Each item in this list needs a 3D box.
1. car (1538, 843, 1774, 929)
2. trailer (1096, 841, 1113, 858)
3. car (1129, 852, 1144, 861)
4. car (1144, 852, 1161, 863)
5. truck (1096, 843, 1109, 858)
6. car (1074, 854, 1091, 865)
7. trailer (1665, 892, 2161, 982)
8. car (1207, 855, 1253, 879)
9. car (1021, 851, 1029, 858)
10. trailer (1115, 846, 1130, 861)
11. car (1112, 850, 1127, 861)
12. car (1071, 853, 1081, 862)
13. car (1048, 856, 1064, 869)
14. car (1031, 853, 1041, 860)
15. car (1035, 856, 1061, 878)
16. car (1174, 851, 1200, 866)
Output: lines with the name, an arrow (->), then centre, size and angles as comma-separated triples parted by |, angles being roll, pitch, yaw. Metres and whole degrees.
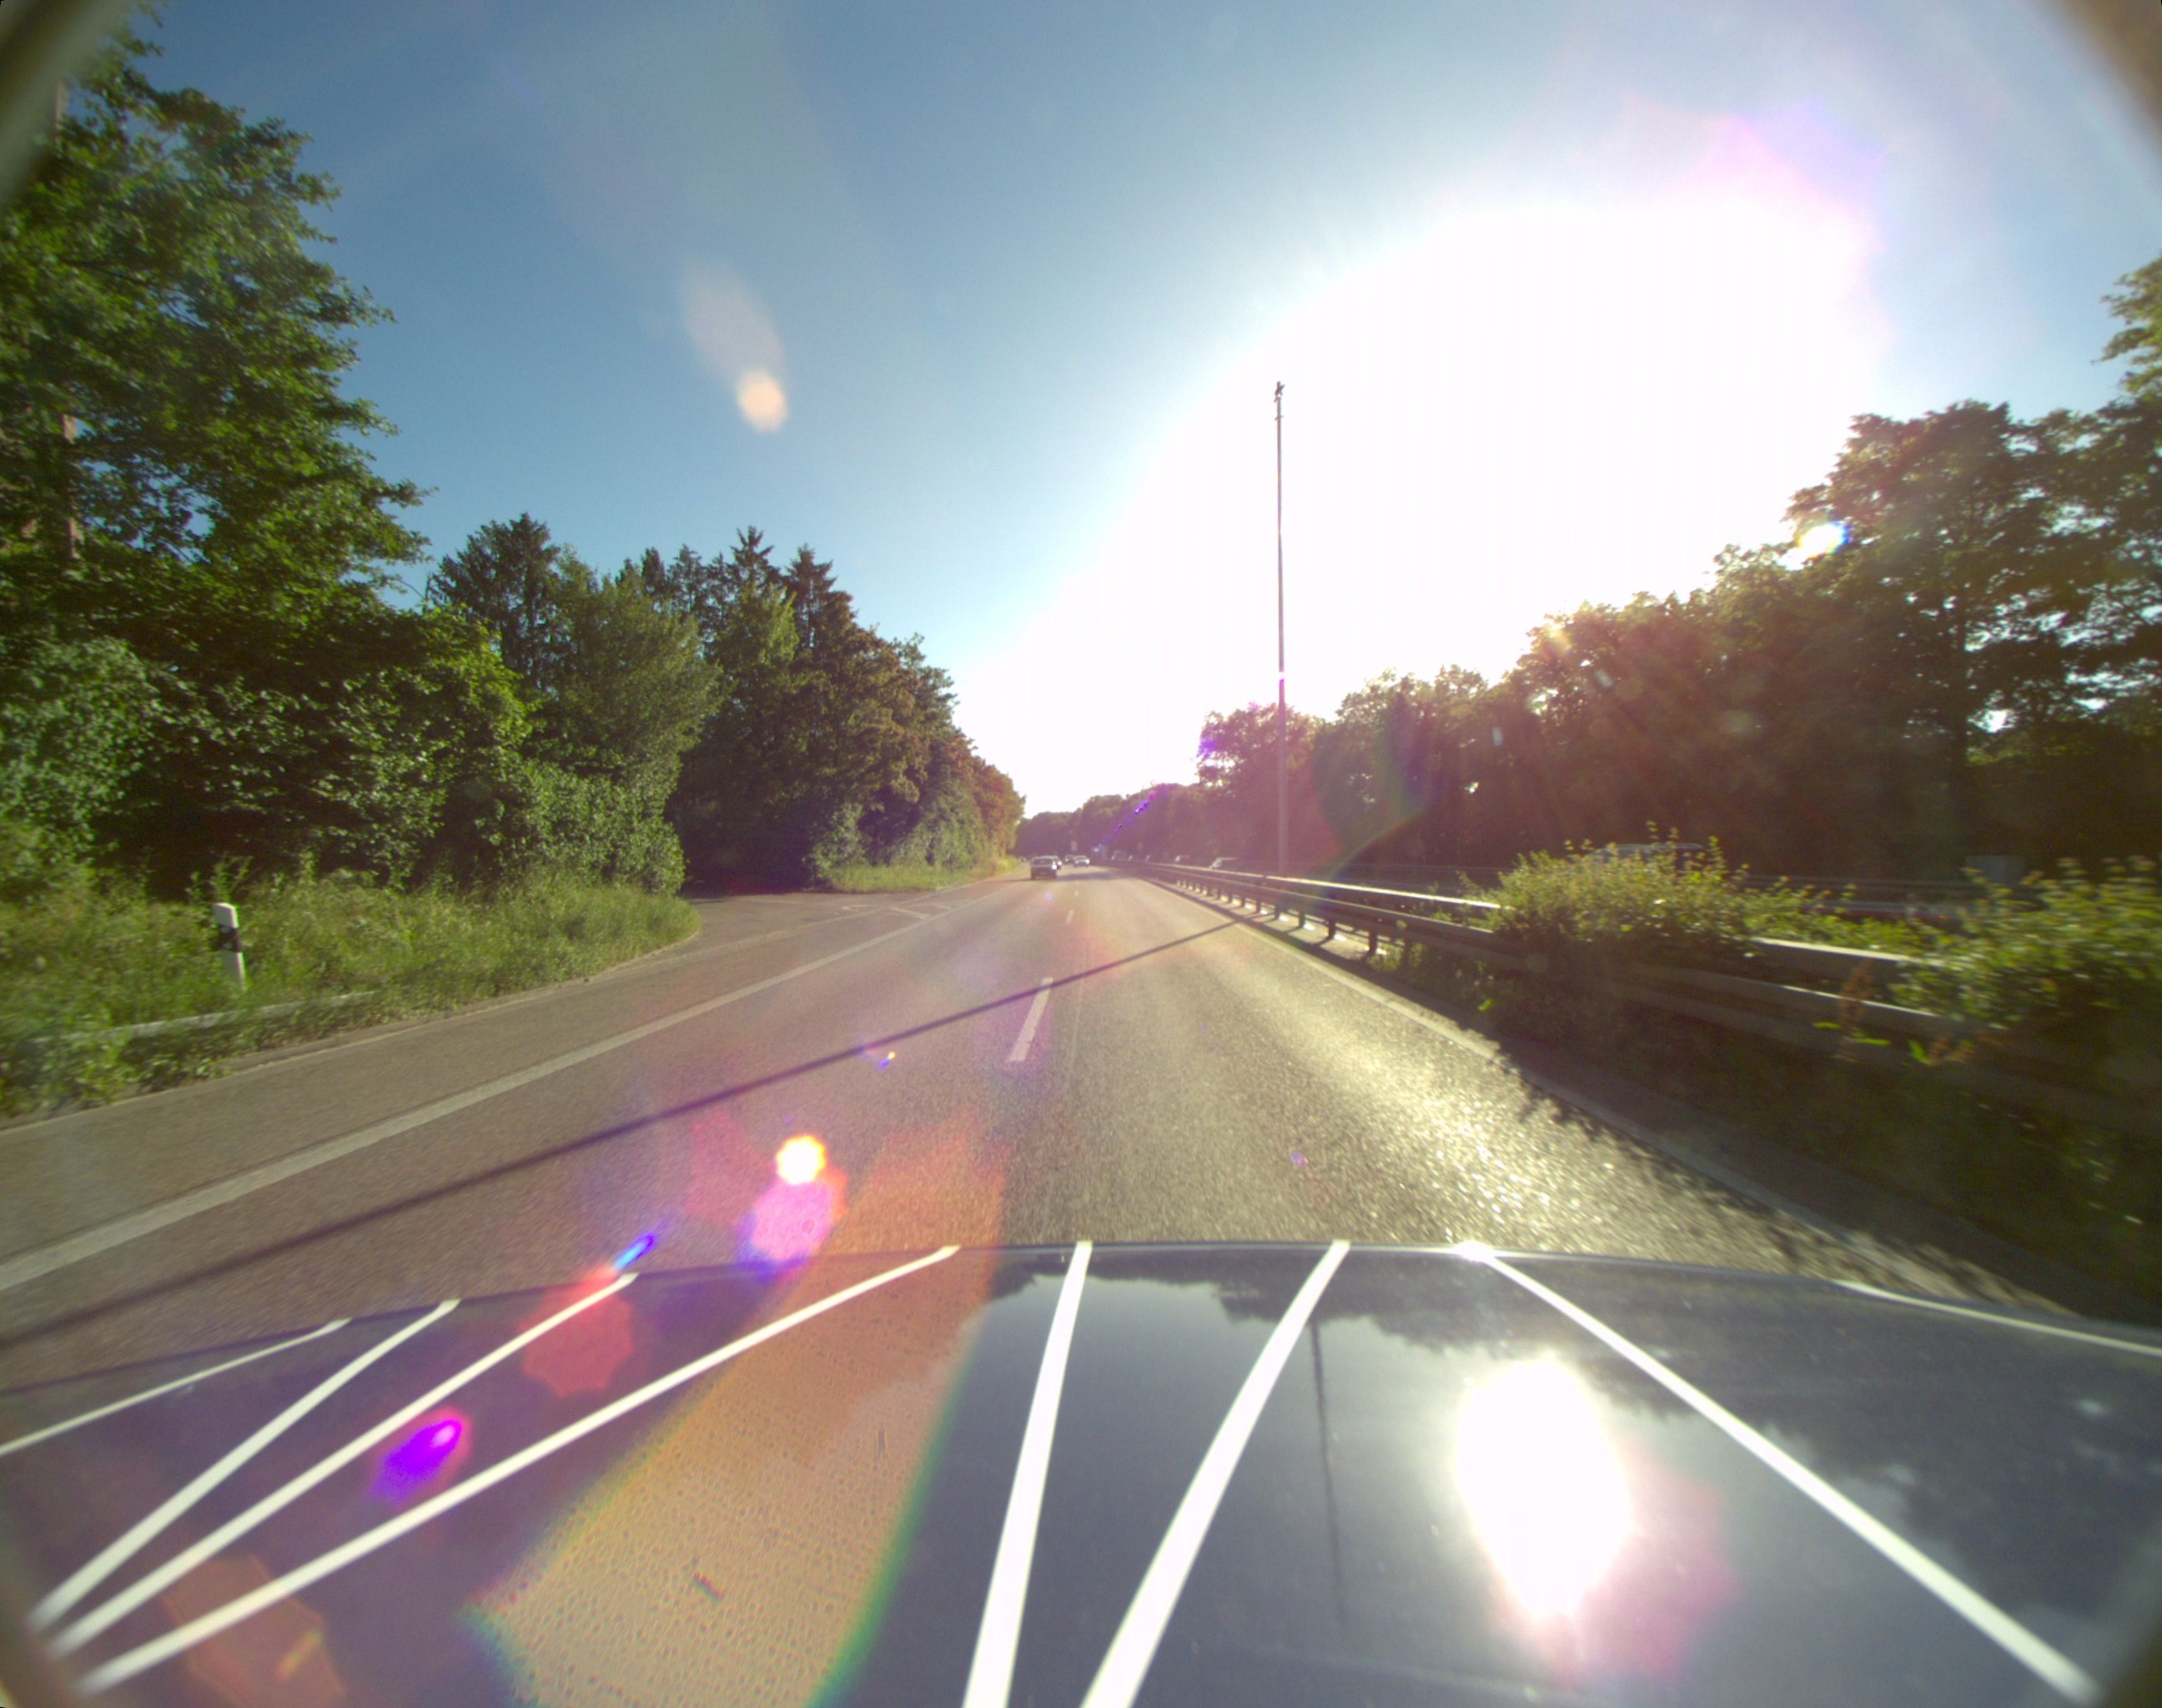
car -> 13.278, 0.657, 18.026 | 1.966, 1.714, 4.744 | -2, 0, 0
trailer -> 5.581, -1.072, 180.914 | 3.061, 3.974, 10.969 | -1, 0, -2
car -> 9.913, 0.407, 136.761 | 2.077, 1.458, 4.984 | -2, 0, -2
car -> 11.159, 0.513, 118.969 | 2.077, 1.604, 5.057 | -2, 0, -2
truck -> 5.305, -0.911, 187.844 | 2.989, 3.609, 6.154 | -1, 0, -2
car -> 0.186, 0.681, 99.640 | 1.905, 1.453, 4.354 | -1, 0, -4
trailer -> 13.224, 1.185, 12.571 | 2.264, 0.736, 6.331 | -1, 0, 0
car -> 9.661, 0.808, 49.668 | 1.966, 1.458, 4.876 | -2, 0, 0
car -> -16.748, 0.157, 228.043 | 2.000, 2.002, 3.997 | -1, 0, -8
trailer -> 6.718, -0.088, 124.034 | 1.999, 2.423, 4.605 | -1, 0, -4
car -> 6.474, 0.211, 128.605 | 2.077, 1.738, 5.222 | -1, 0, -3
car -> -0.834, 0.656, 131.663 | 1.801, 1.453, 4.355 | -1, 0, 0
car -> -2.865, 0.931, 86.318 | 1.801, 1.453, 4.355 | -1, 0, -2
car -> -10.849, 0.568, 183.455 | 2.000, 1.761, 3.997 | -1, 0, -8
car -> -2.312, 0.862, 53.937 | 1.801, 1.453, 4.355 | -1, 0, -2
car -> 12.562, 0.505, 90.252 | 2.125, 1.715, 5.875 | -2, 0, 0
